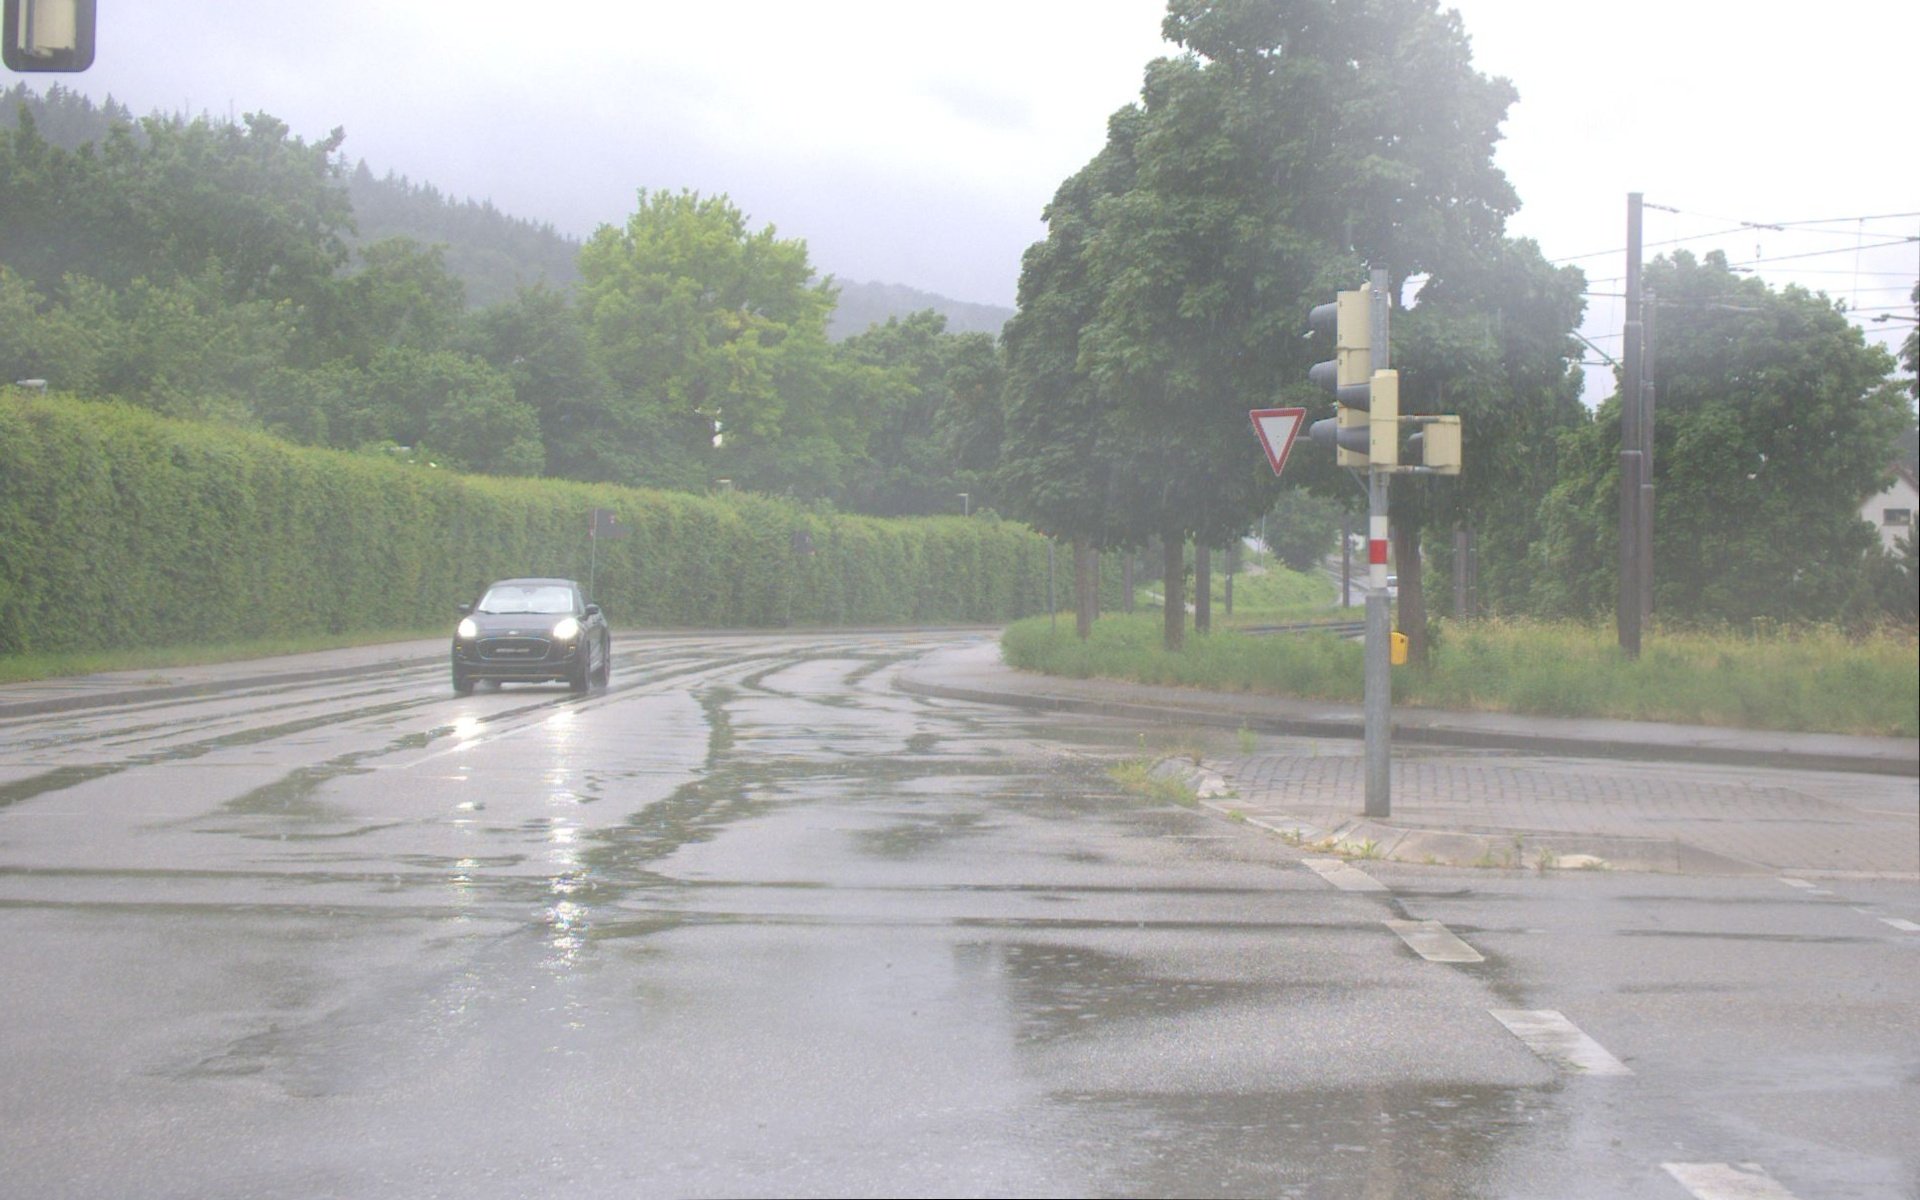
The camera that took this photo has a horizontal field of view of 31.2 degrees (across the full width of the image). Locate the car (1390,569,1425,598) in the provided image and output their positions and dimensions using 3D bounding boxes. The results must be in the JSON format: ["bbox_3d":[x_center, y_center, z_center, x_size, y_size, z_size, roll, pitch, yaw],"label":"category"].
[{"bbox_3d":[30.753,-1.148,235.962,1.954,1.897,4.117,0,1,13],"label":"car"}]

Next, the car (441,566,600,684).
[{"bbox_3d":[-5.987,0.308,47.205,1.785,1.499,4.061,1,1,-2],"label":"car"}]
